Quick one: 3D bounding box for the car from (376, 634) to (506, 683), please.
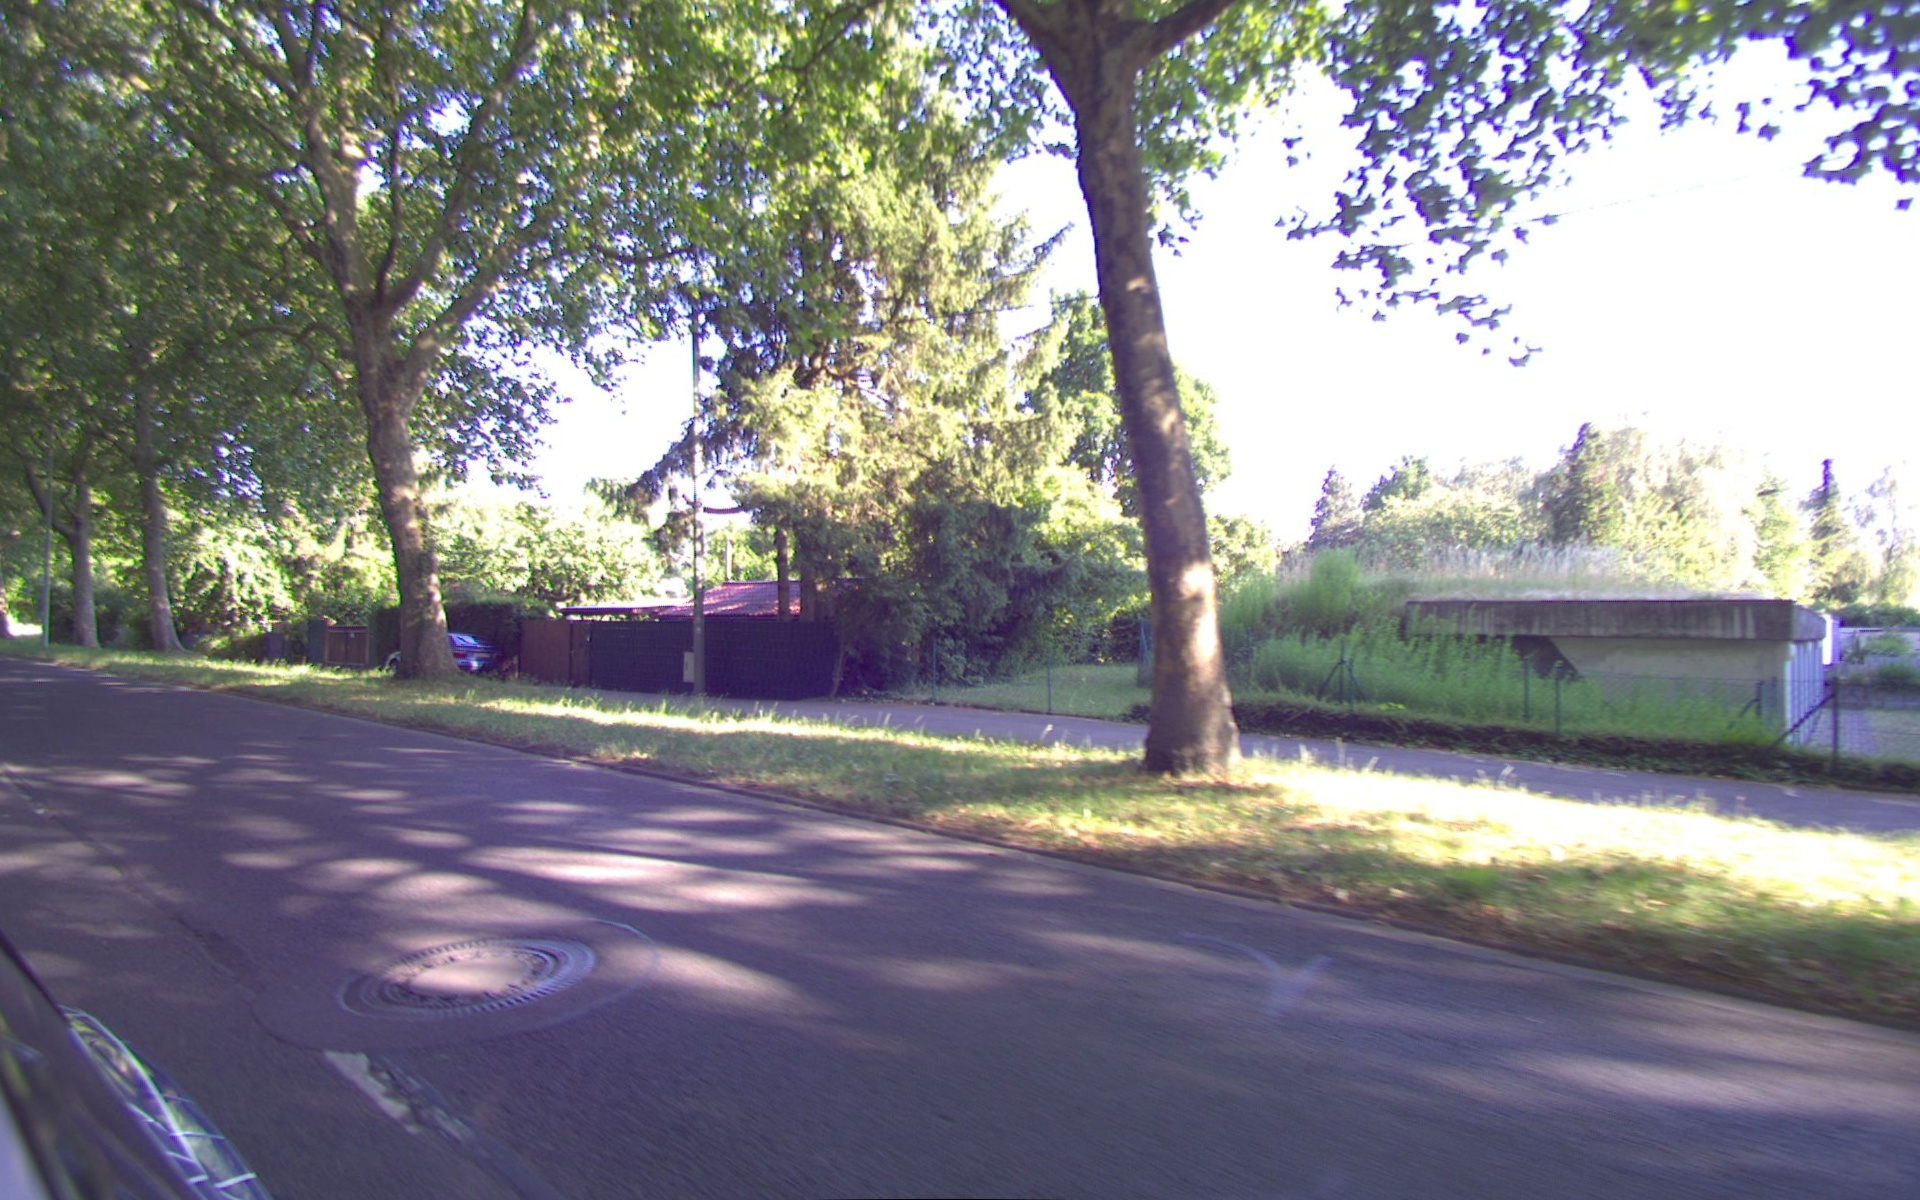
[{"bbox_3d":[-15.054,1.664,29.298,3.992,1.314,1.736,-2,-3,36],"label":"car"}]
